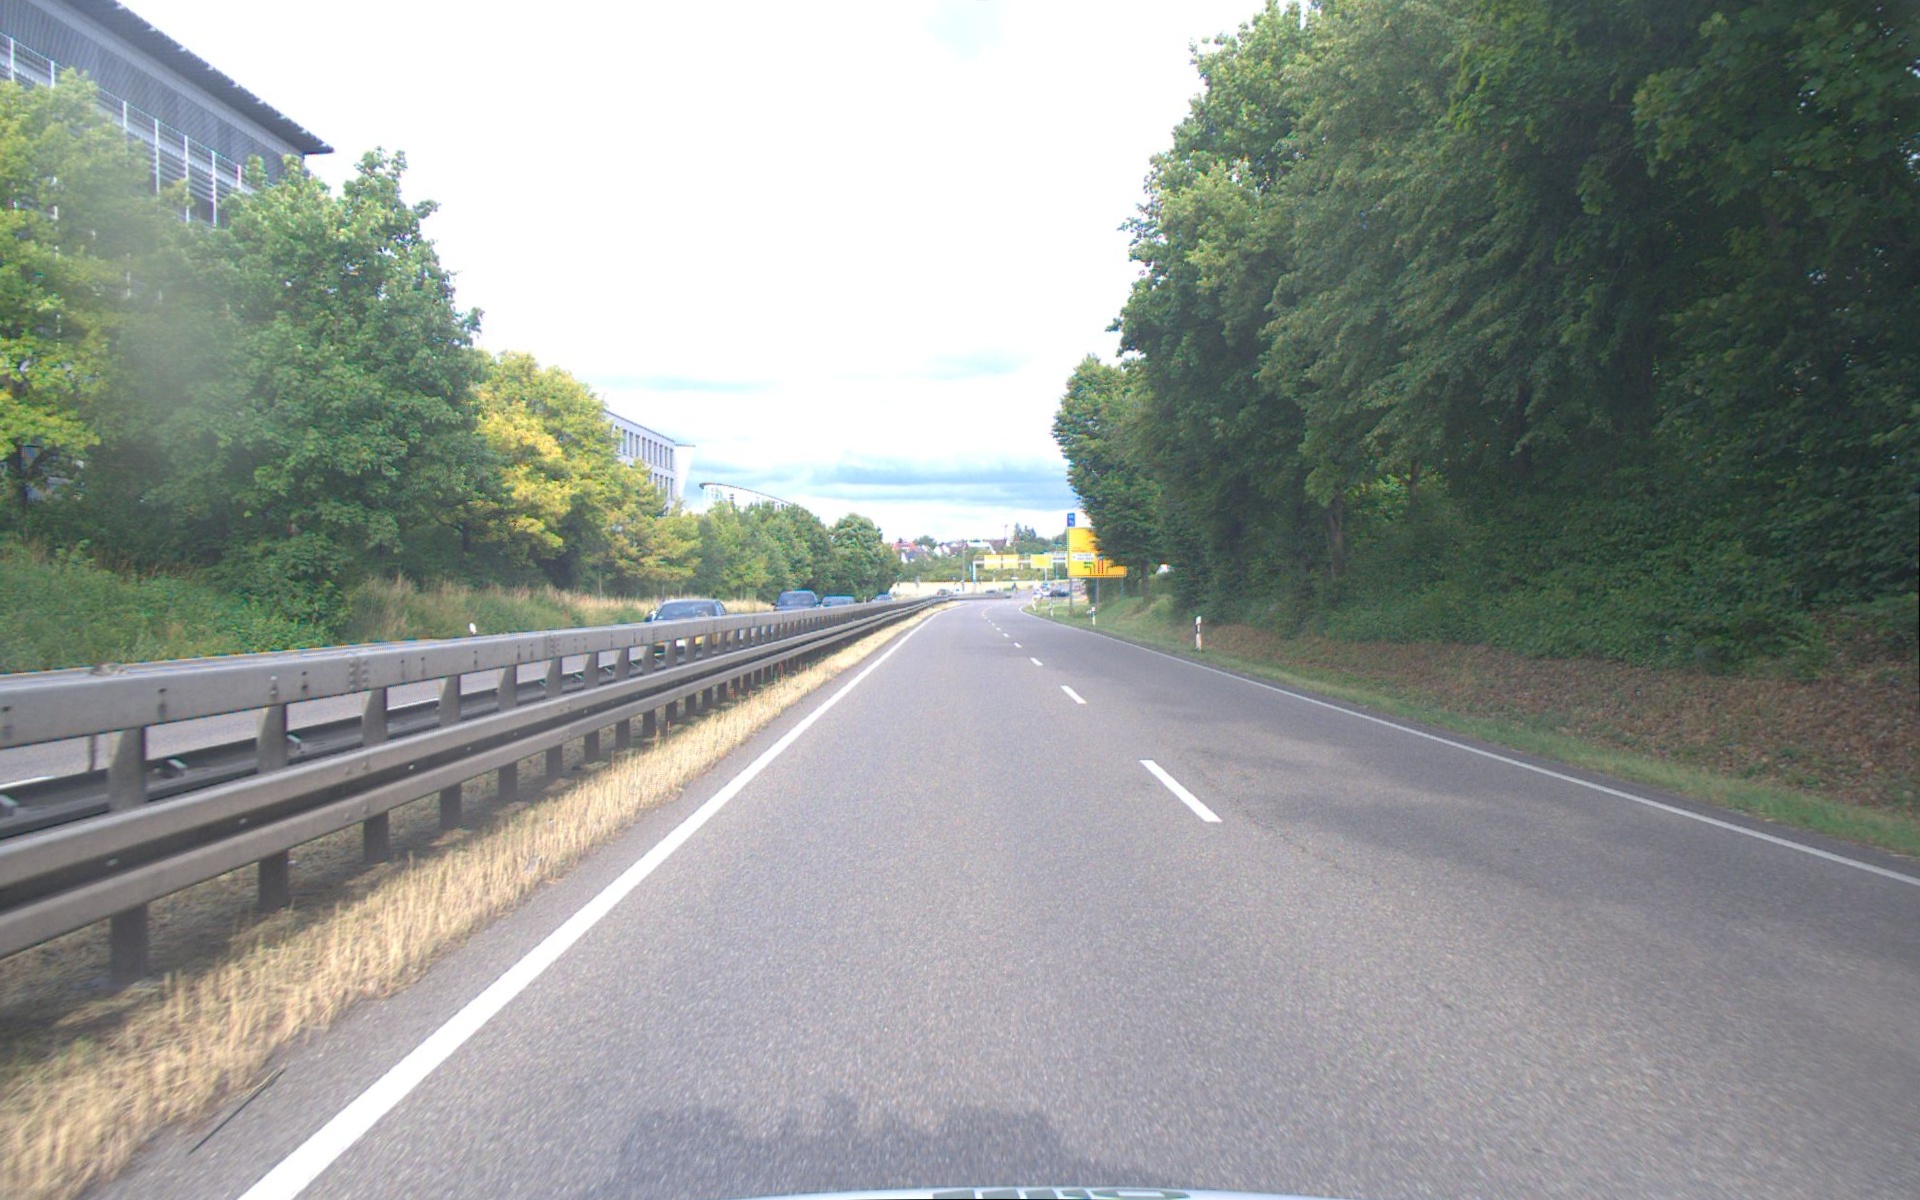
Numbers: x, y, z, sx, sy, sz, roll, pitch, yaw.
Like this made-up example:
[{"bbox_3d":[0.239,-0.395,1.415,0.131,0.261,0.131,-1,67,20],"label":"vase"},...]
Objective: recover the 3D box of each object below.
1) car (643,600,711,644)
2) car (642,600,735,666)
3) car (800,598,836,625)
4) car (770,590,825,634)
[{"bbox_3d":[-10.410,0.785,61.044,1.780,1.511,4.416,0,0,-1],"label":"car"},{"bbox_3d":[-6.418,0.747,39.489,1.559,1.472,4.000,-1,0,0],"label":"car"},{"bbox_3d":[-8.085,0.630,94.207,1.707,1.483,4.311,-1,0,-1],"label":"car"},{"bbox_3d":[-6.566,0.461,67.335,1.707,1.673,5.279,-1,0,0],"label":"car"}]
